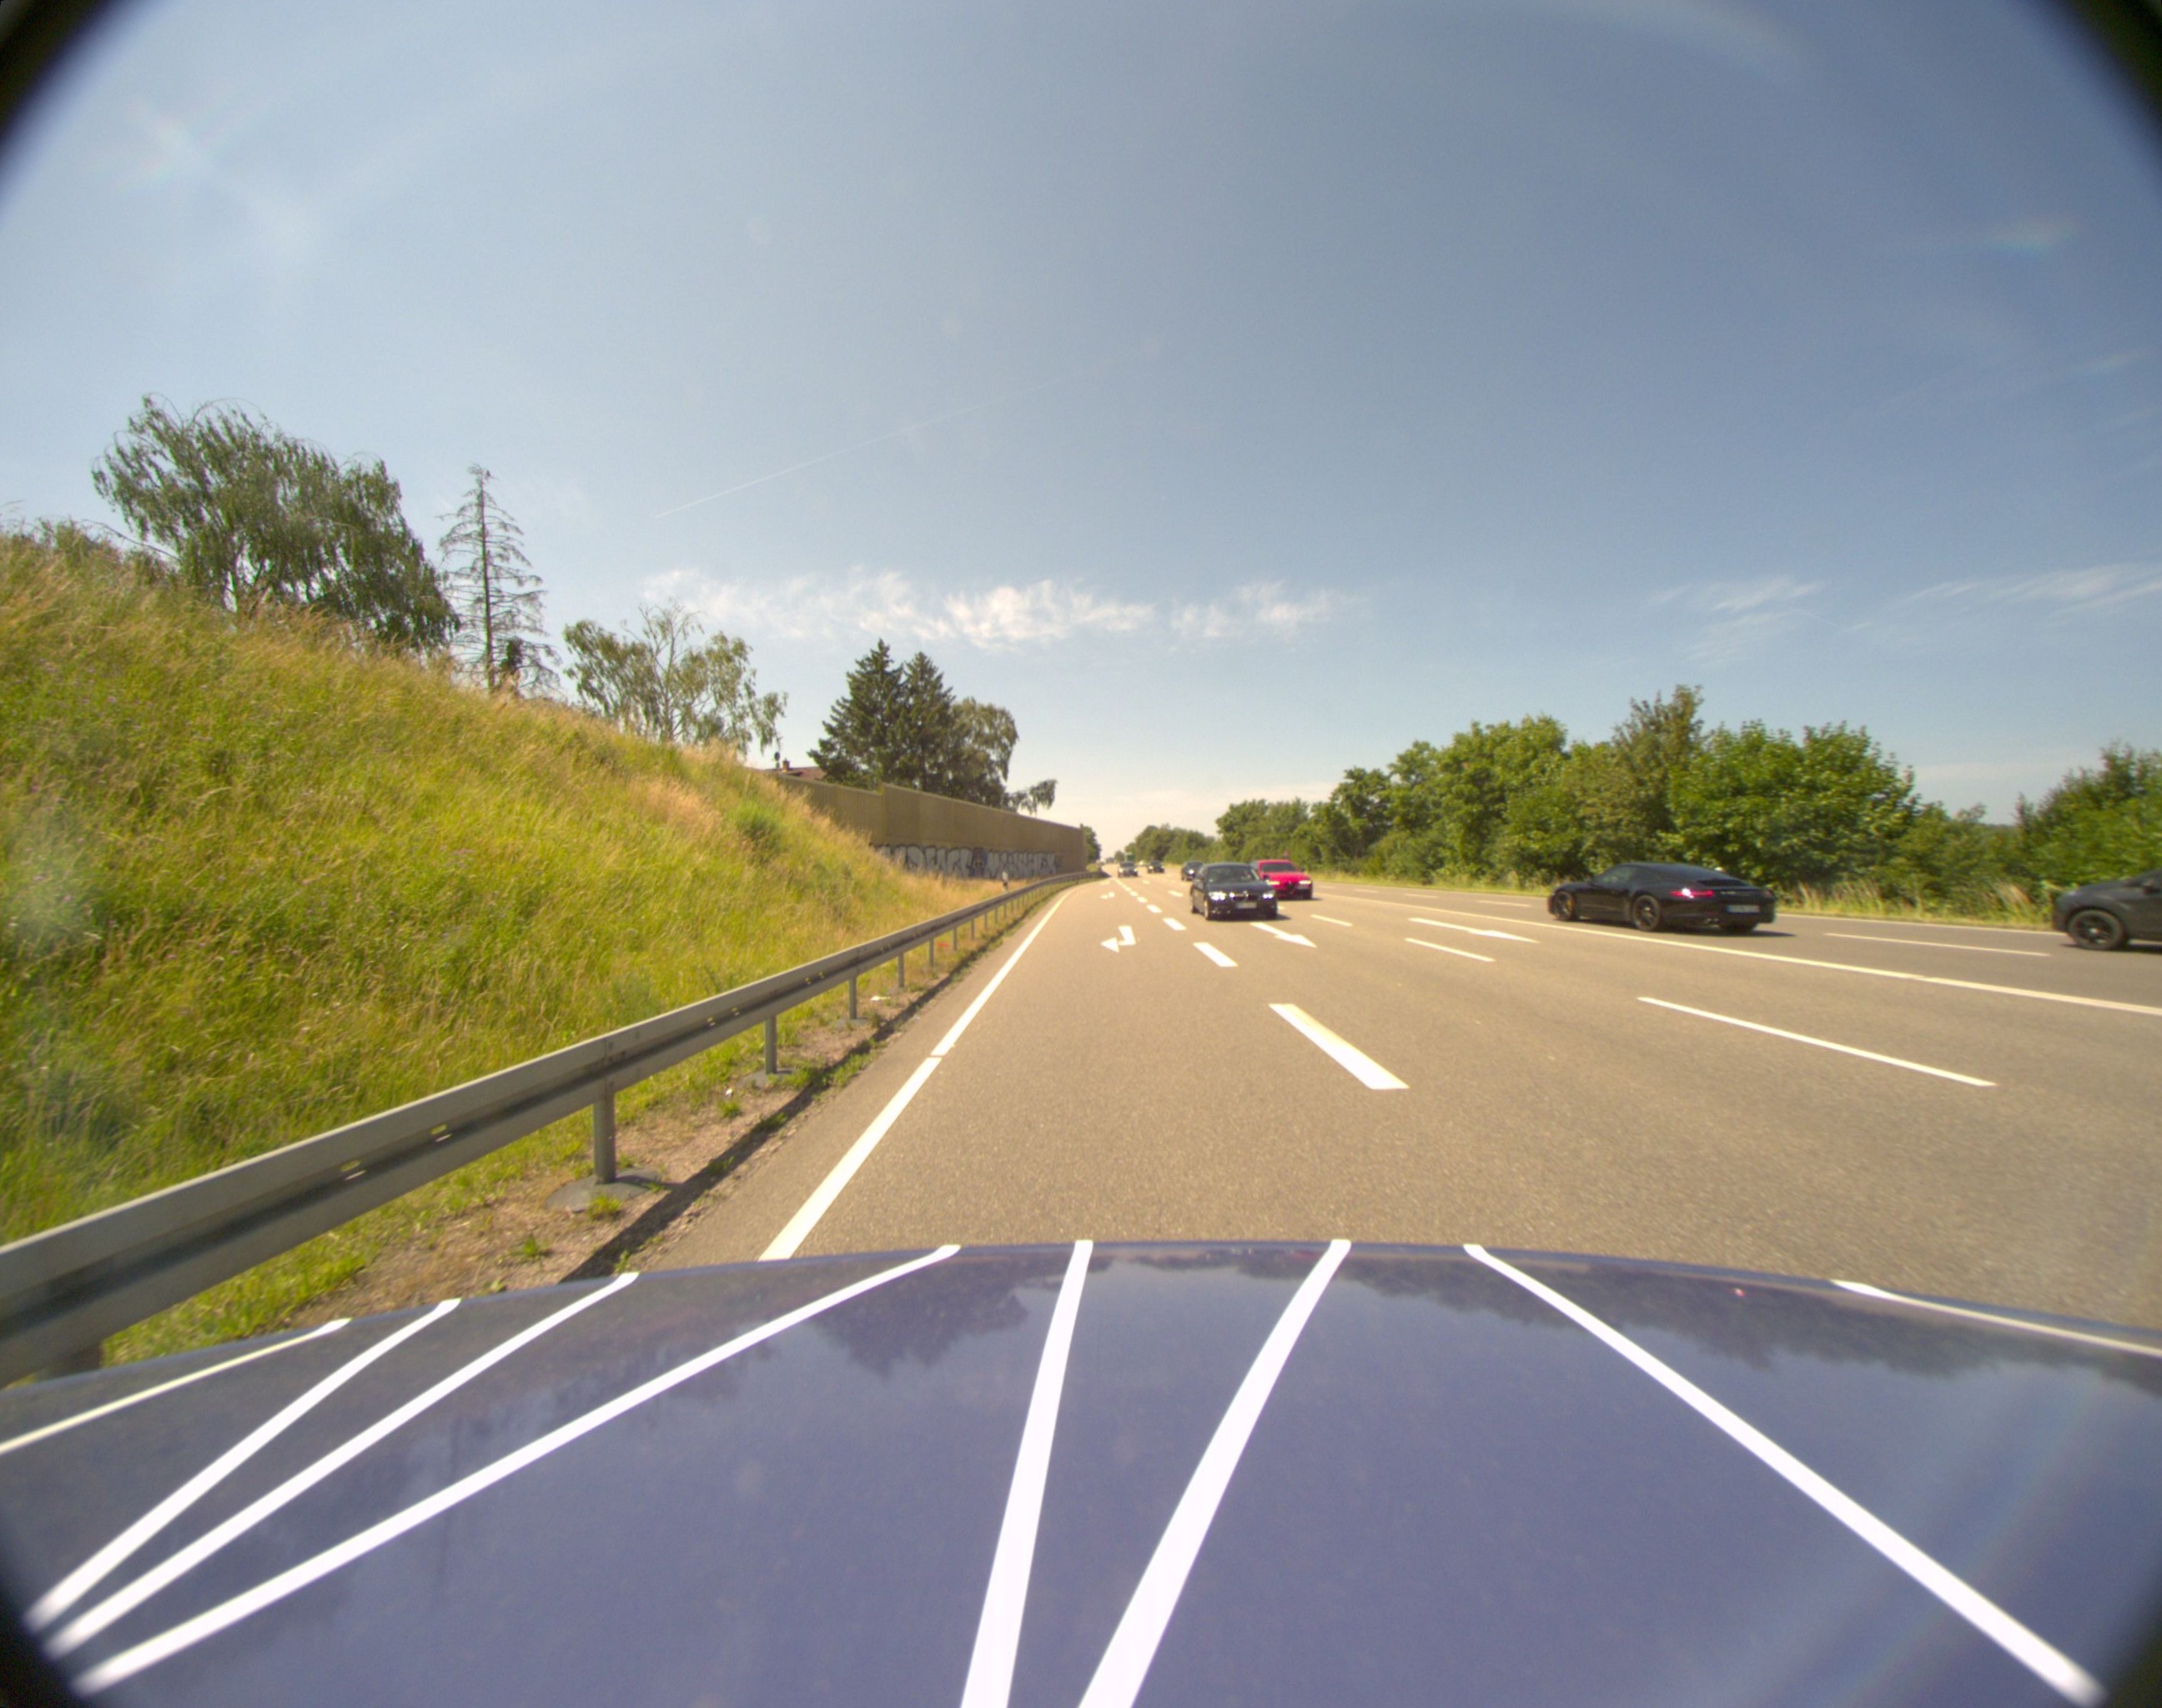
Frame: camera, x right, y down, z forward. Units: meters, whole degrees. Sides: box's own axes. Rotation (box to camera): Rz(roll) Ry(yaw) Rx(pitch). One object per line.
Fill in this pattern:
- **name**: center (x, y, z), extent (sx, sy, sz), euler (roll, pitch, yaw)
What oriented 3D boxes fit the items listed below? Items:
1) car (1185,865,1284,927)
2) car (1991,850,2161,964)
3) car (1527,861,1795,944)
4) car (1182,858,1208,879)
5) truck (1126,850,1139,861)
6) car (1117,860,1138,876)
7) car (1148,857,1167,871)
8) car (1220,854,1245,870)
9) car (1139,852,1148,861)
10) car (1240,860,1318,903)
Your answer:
- **car**: center (3.959, 1.033, 20.359), extent (1.788, 1.422, 4.381), euler (-2, -1, 1)
- **car**: center (14.809, 0.678, 9.491), extent (1.663, 1.453, 4.343), euler (-1, 0, -1)
- **car**: center (11.039, 0.830, 15.024), extent (1.555, 1.326, 4.854), euler (-1, 0, -1)
- **car**: center (8.234, 1.033, 55.197), extent (1.678, 1.403, 4.469), euler (-2, 0, 6)
- **truck**: center (15.935, 0.382, 235.708), extent (3.360, 3.380, 7.982), euler (-2, 1, 1)
- **car**: center (4.426, 1.292, 71.954), extent (1.893, 1.439, 4.527), euler (-2, 0, 4)
- **car**: center (8.936, 1.144, 88.703), extent (1.893, 1.439, 4.526), euler (-2, 0, 2)
- **car**: center (15.969, 0.816, 80.075), extent (1.893, 1.527, 4.526), euler (-2, 0, 3)
- **car**: center (14.713, 0.593, 178.598), extent (1.747, 1.808, 3.999), euler (-2, 1, 1)
- **car**: center (7.268, 0.980, 28.338), extent (1.753, 1.413, 4.567), euler (-2, -1, 2)
